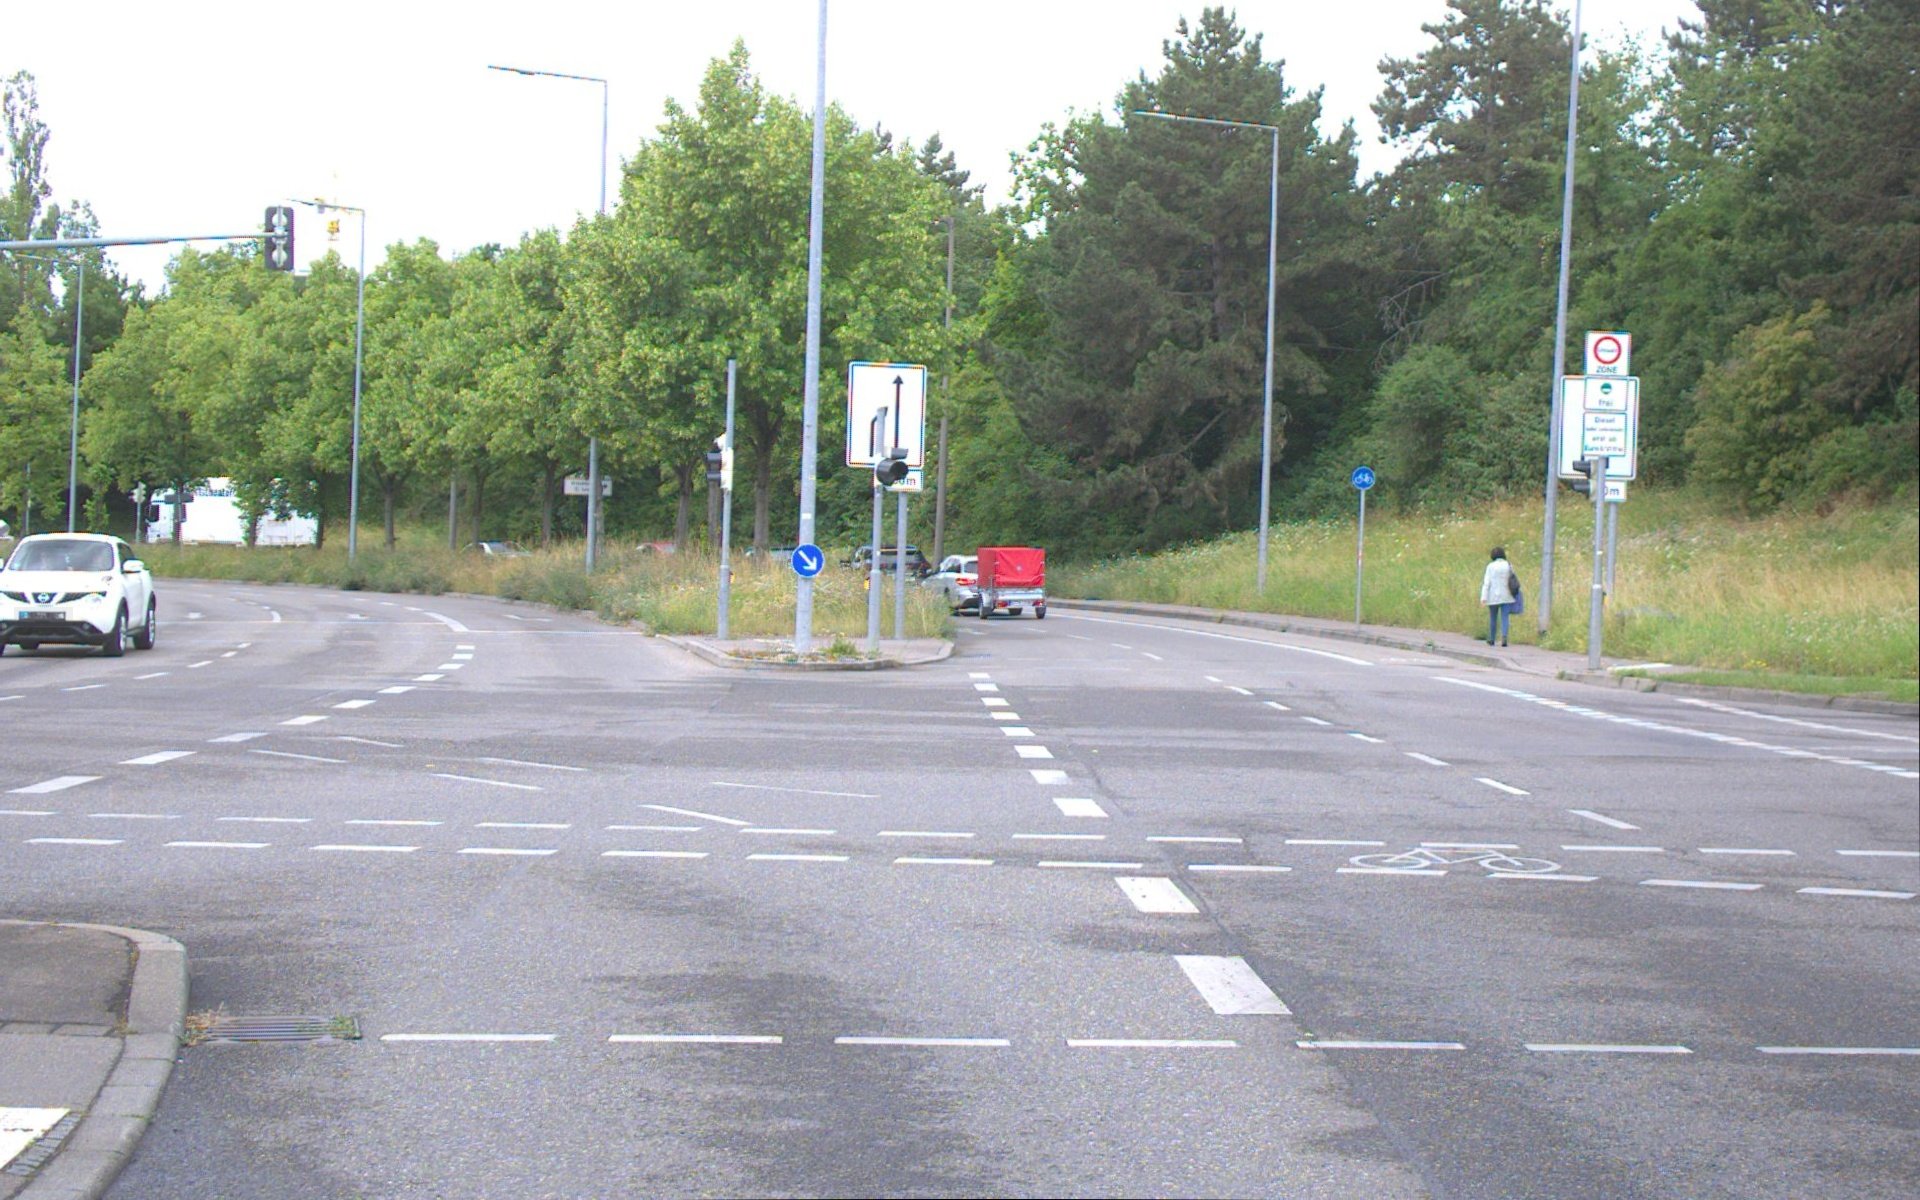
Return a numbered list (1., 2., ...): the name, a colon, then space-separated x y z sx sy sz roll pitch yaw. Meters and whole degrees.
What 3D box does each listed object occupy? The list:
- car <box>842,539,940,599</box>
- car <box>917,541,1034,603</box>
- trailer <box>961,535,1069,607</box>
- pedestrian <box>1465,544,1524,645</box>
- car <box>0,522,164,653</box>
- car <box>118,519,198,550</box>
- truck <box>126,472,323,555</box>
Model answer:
1. car: -1.890 -0.859 92.655 1.777 1.541 4.026 0 1 -14
2. car: 0.340 -0.688 83.051 1.777 1.416 4.460 0 1 -14
3. trailer: 1.243 -0.681 79.408 1.764 1.610 3.045 0 1 -14
4. pedestrian: 8.724 -0.095 56.146 0.814 1.622 0.791 1 1 -1
5. car: -11.559 -0.200 44.774 1.828 1.623 4.427 0 1 -7
6. car: -41.353 -3.381 177.371 1.781 1.541 4.018 1 1 30
7. truck: -30.425 -3.591 141.763 2.741 3.317 11.402 0 2 -41
